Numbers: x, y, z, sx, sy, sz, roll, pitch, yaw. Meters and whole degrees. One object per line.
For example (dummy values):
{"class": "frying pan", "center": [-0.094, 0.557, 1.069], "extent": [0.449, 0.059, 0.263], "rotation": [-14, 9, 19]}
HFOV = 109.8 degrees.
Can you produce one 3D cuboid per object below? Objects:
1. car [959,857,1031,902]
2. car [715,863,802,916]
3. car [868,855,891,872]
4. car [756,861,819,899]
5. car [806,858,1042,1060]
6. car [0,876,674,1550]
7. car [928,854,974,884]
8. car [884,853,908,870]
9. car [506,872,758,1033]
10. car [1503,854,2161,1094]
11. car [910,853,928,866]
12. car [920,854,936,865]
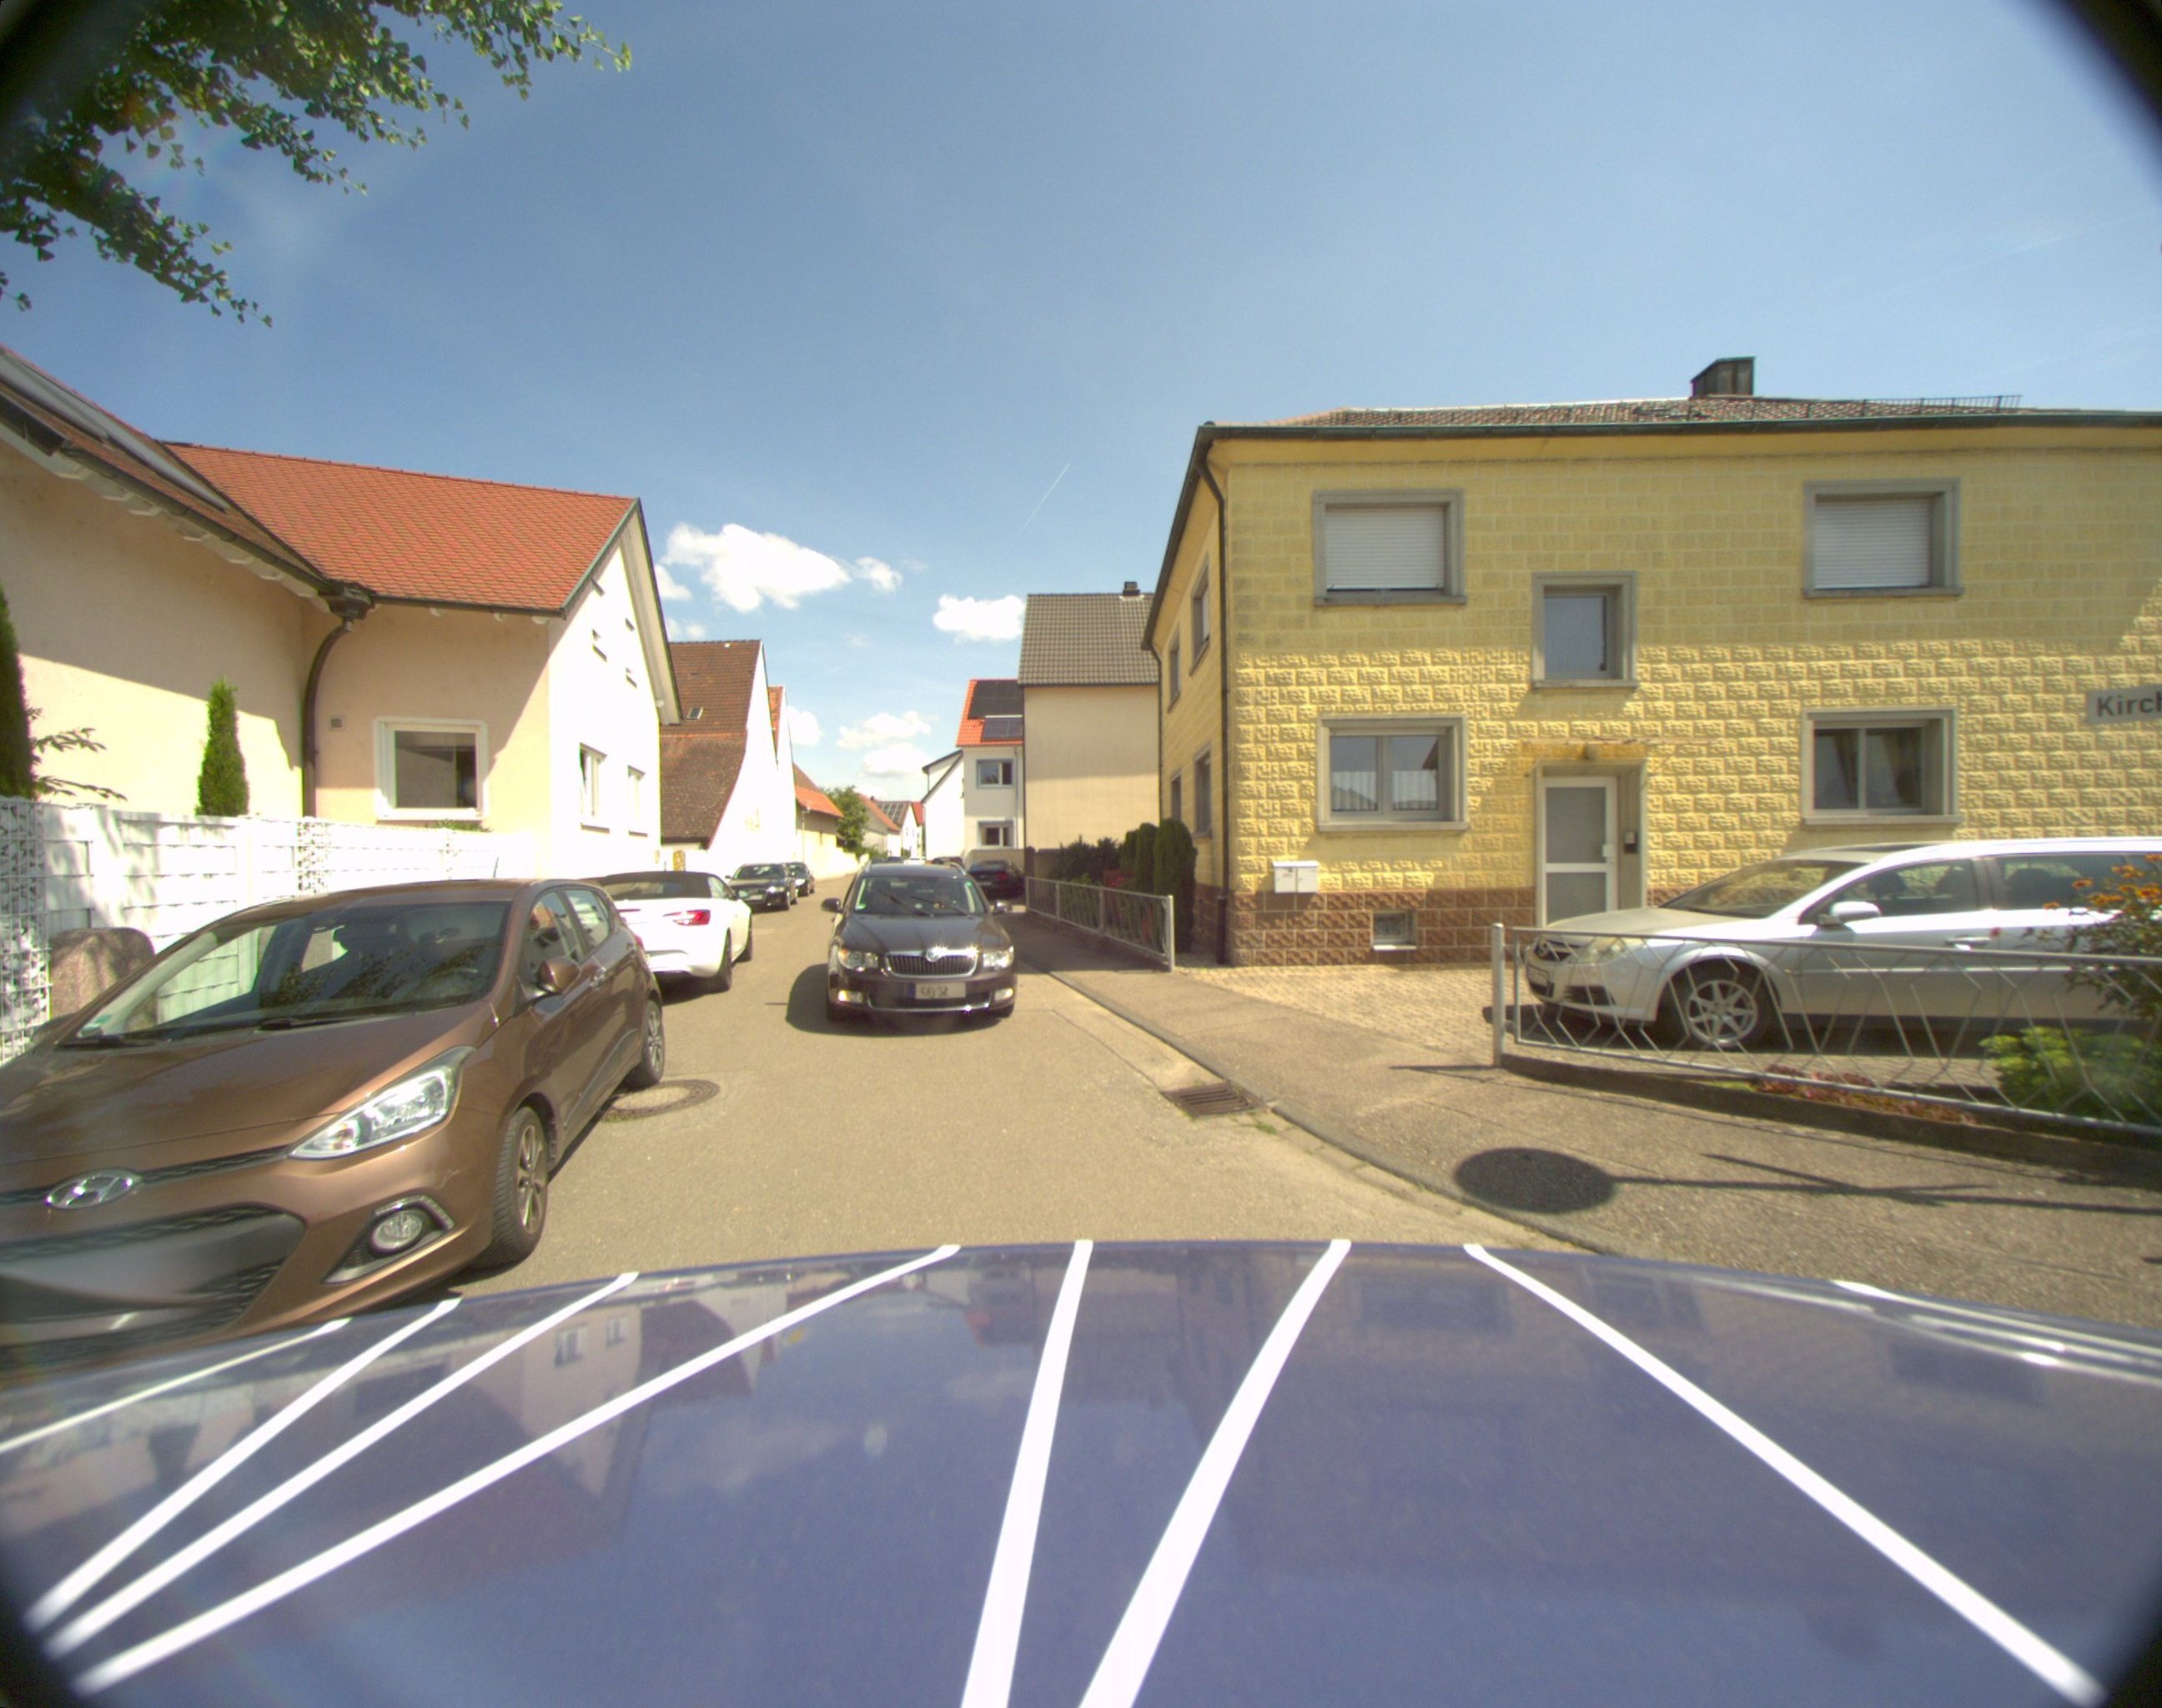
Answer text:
{"class": "car", "center": [-2.990, 0.851, 27.298], "extent": [1.773, 1.342, 4.469], "rotation": [-2, 1, 3]}
{"class": "car", "center": [-9.815, 1.004, 23.468], "extent": [1.903, 1.357, 4.730], "rotation": [-1, 1, -16]}
{"class": "car", "center": [-18.209, 0.870, 68.799], "extent": [1.786, 1.471, 3.995], "rotation": [0, 0, -12]}
{"class": "car", "center": [-12.012, 1.005, 31.334], "extent": [1.903, 1.357, 4.408], "rotation": [-1, 1, -14]}
{"class": "car", "center": [-1.902, 0.921, 8.273], "extent": [1.788, 1.526, 4.704], "rotation": [3, -3, -17]}
{"class": "car", "center": [-3.445, 1.006, 3.818], "extent": [1.719, 1.524, 4.028], "rotation": [-5, 2, -19]}
{"class": "car", "center": [-6.877, 0.784, 40.469], "extent": [1.641, 1.446, 3.787], "rotation": [-2, 0, 1]}
{"class": "car", "center": [-18.924, 0.736, 77.796], "extent": [1.785, 1.600, 3.997], "rotation": [-3, 1, -5]}
{"class": "car", "center": [-5.532, 1.042, 10.072], "extent": [1.903, 1.420, 4.729], "rotation": [-1, 1, -19]}
{"class": "car", "center": [5.983, 0.769, 5.835], "extent": [4.465, 1.477, 1.793], "rotation": [-1, 1, 12]}
{"class": "car", "center": [-20.933, 0.702, 98.315], "extent": [1.785, 1.492, 4.036], "rotation": [-3, 1, -5]}
{"class": "car", "center": [-22.247, 0.820, 110.541], "extent": [1.785, 1.492, 4.036], "rotation": [-3, 1, -5]}
